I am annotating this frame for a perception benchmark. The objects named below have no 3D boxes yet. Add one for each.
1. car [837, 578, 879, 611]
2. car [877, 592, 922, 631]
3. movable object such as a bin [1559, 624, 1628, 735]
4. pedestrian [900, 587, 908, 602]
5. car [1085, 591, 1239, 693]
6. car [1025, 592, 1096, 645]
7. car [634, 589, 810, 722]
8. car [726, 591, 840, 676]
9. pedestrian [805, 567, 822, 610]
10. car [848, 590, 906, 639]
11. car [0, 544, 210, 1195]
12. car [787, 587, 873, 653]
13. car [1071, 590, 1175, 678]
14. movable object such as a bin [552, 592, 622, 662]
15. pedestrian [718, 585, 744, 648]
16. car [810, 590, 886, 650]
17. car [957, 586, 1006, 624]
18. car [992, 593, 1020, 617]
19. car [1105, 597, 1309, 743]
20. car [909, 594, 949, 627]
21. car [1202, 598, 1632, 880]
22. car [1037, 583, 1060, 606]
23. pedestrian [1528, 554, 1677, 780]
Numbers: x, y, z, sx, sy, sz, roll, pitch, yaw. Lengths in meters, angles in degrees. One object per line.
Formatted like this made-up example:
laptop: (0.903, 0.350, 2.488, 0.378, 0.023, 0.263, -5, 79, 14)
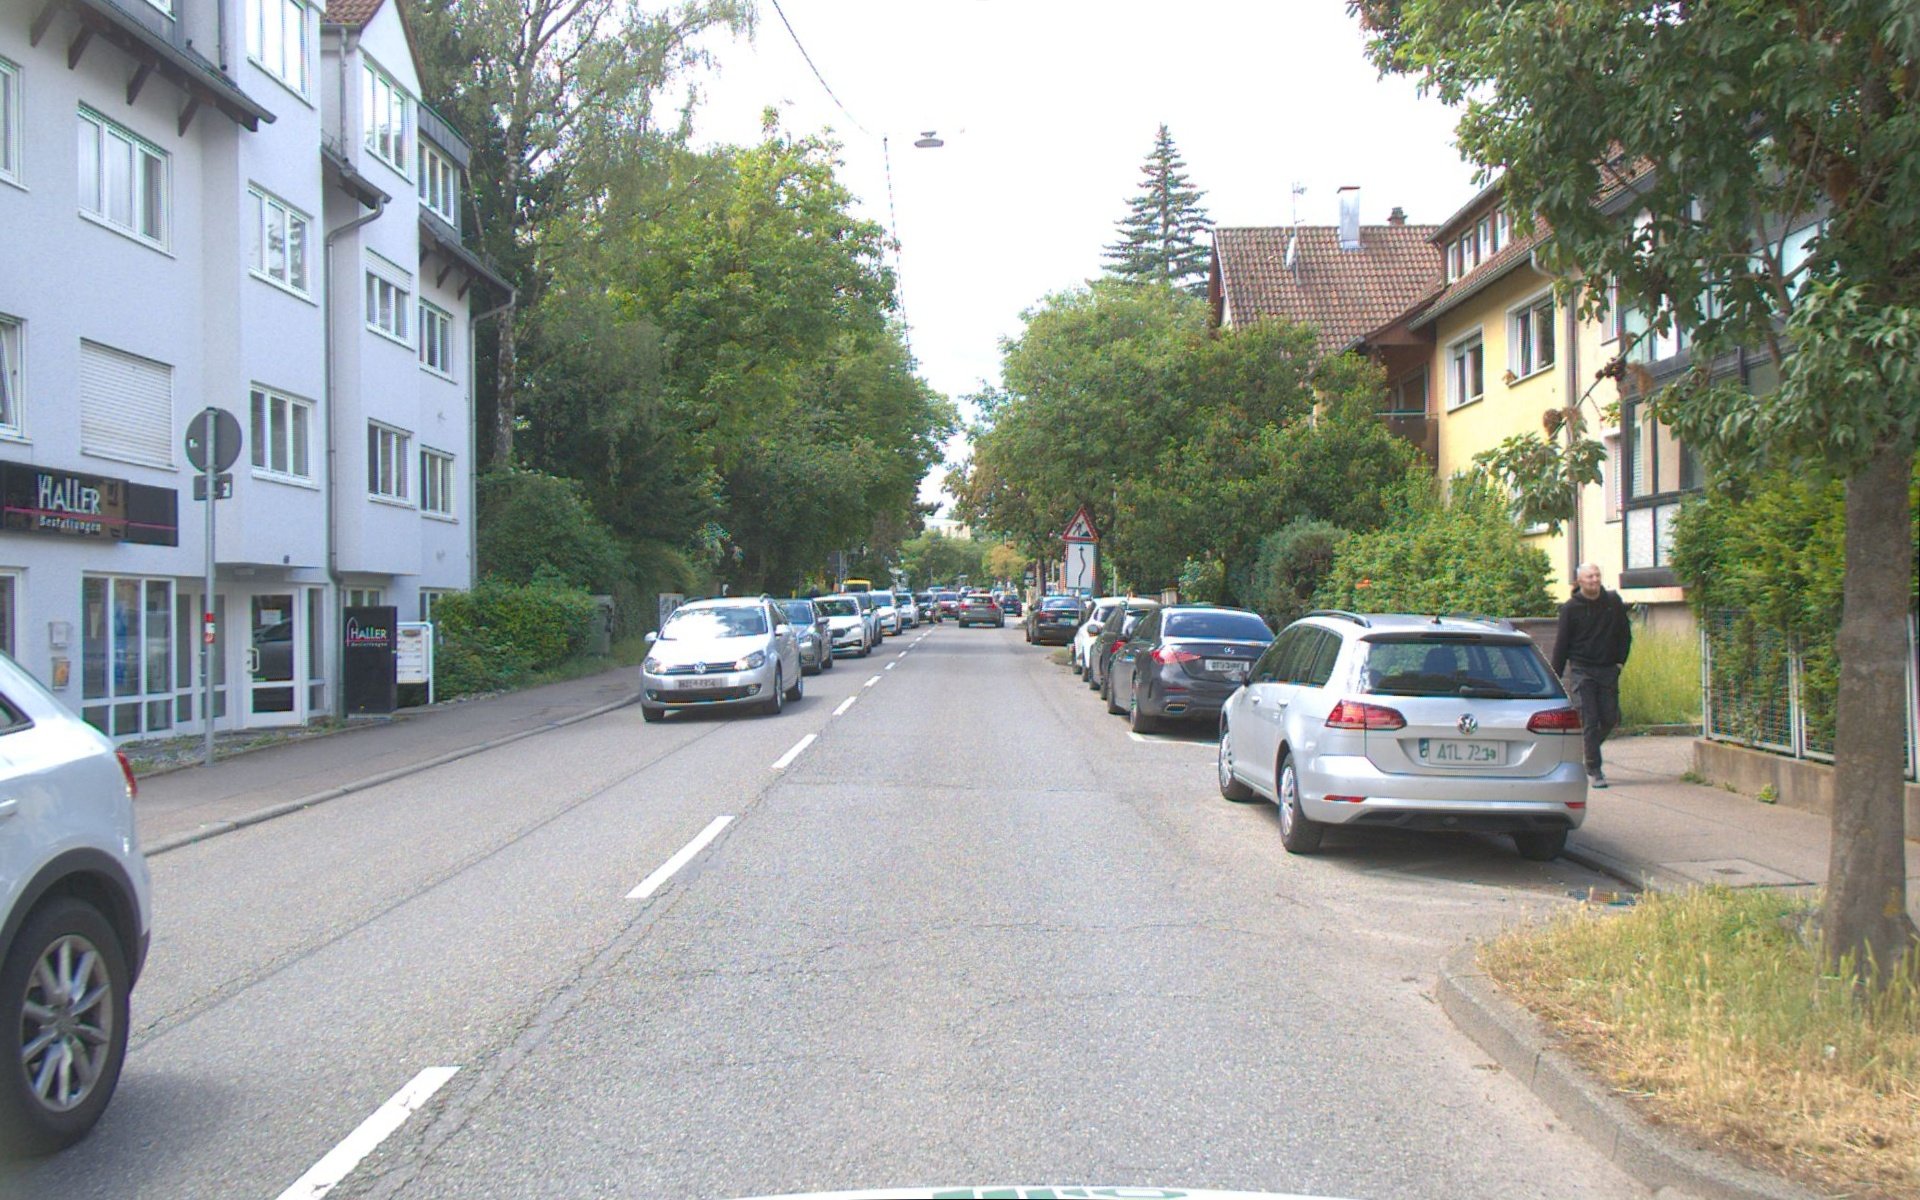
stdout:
car: (-6.444, -0.343, 104.955, 2.101, 2.015, 4.932, 0, -1, 3)
car: (-2.660, 0.475, 73.255, 1.748, 1.619, 4.154, -2, 0, 1)
movable object such as a bin: (6.424, 0.796, 16.783, 0.512, 1.099, 0.604, 0, -1, 6)
pedestrian: (-5.383, -0.542, 158.108, 0.690, 1.465, 0.714, 0, -1, 4)
car: (3.059, 0.592, 25.898, 1.952, 1.448, 4.589, -1, 0, 1)
car: (2.998, 0.514, 50.252, 1.765, 1.470, 4.886, 2, 0, -1)
car: (-3.062, 0.658, 22.110, 1.693, 1.529, 4.375, -3, 0, -1)
car: (-3.437, 0.631, 32.860, 1.674, 1.481, 4.287, -3, 0, 1)
pedestrian: (-6.128, -0.467, 69.412, 0.700, 1.793, 1.121, 0, -1, -5)
car: (-2.996, 0.501, 60.445, 1.749, 1.676, 4.491, -2, 0, 1)
car: (-3.267, 0.692, 3.094, 1.769, 1.598, 4.159, -2, 0, 0)
car: (-3.117, 0.446, 40.372, 1.724, 1.464, 3.970, -2, 0, 0)
car: (3.027, 0.596, 31.298, 1.588, 1.534, 3.779, -1, 0, 0)
movable object such as a bin: (-7.859, 0.573, 34.895, 1.304, 1.452, 1.212, 0, -1, -6)
pedestrian: (-6.236, 0.458, 45.127, 0.640, 1.696, 0.931, 0, -1, -5)
car: (-3.269, 0.551, 48.915, 1.888, 1.573, 4.086, -3, 0, 0)
car: (0.978, 0.201, 73.416, 1.935, 1.539, 4.268, 3, 0, 3)
car: (3.019, 0.315, 107.728, 1.778, 1.527, 4.268, 1, 0, 2)
car: (2.835, 0.736, 19.990, 1.698, 1.453, 4.883, 3, 0, 0)
car: (-1.546, 0.495, 83.430, 1.752, 1.569, 4.265, -2, 0, 2)
car: (2.874, 0.763, 11.546, 1.666, 1.506, 4.872, 1, 0, 0)
car: (8.009, -0.498, 150.068, 1.952, 2.049, 4.001, 0, -1, 2)
pedestrian: (5.105, 0.519, 13.191, 0.862, 1.742, 0.842, 0, -1, 1)
